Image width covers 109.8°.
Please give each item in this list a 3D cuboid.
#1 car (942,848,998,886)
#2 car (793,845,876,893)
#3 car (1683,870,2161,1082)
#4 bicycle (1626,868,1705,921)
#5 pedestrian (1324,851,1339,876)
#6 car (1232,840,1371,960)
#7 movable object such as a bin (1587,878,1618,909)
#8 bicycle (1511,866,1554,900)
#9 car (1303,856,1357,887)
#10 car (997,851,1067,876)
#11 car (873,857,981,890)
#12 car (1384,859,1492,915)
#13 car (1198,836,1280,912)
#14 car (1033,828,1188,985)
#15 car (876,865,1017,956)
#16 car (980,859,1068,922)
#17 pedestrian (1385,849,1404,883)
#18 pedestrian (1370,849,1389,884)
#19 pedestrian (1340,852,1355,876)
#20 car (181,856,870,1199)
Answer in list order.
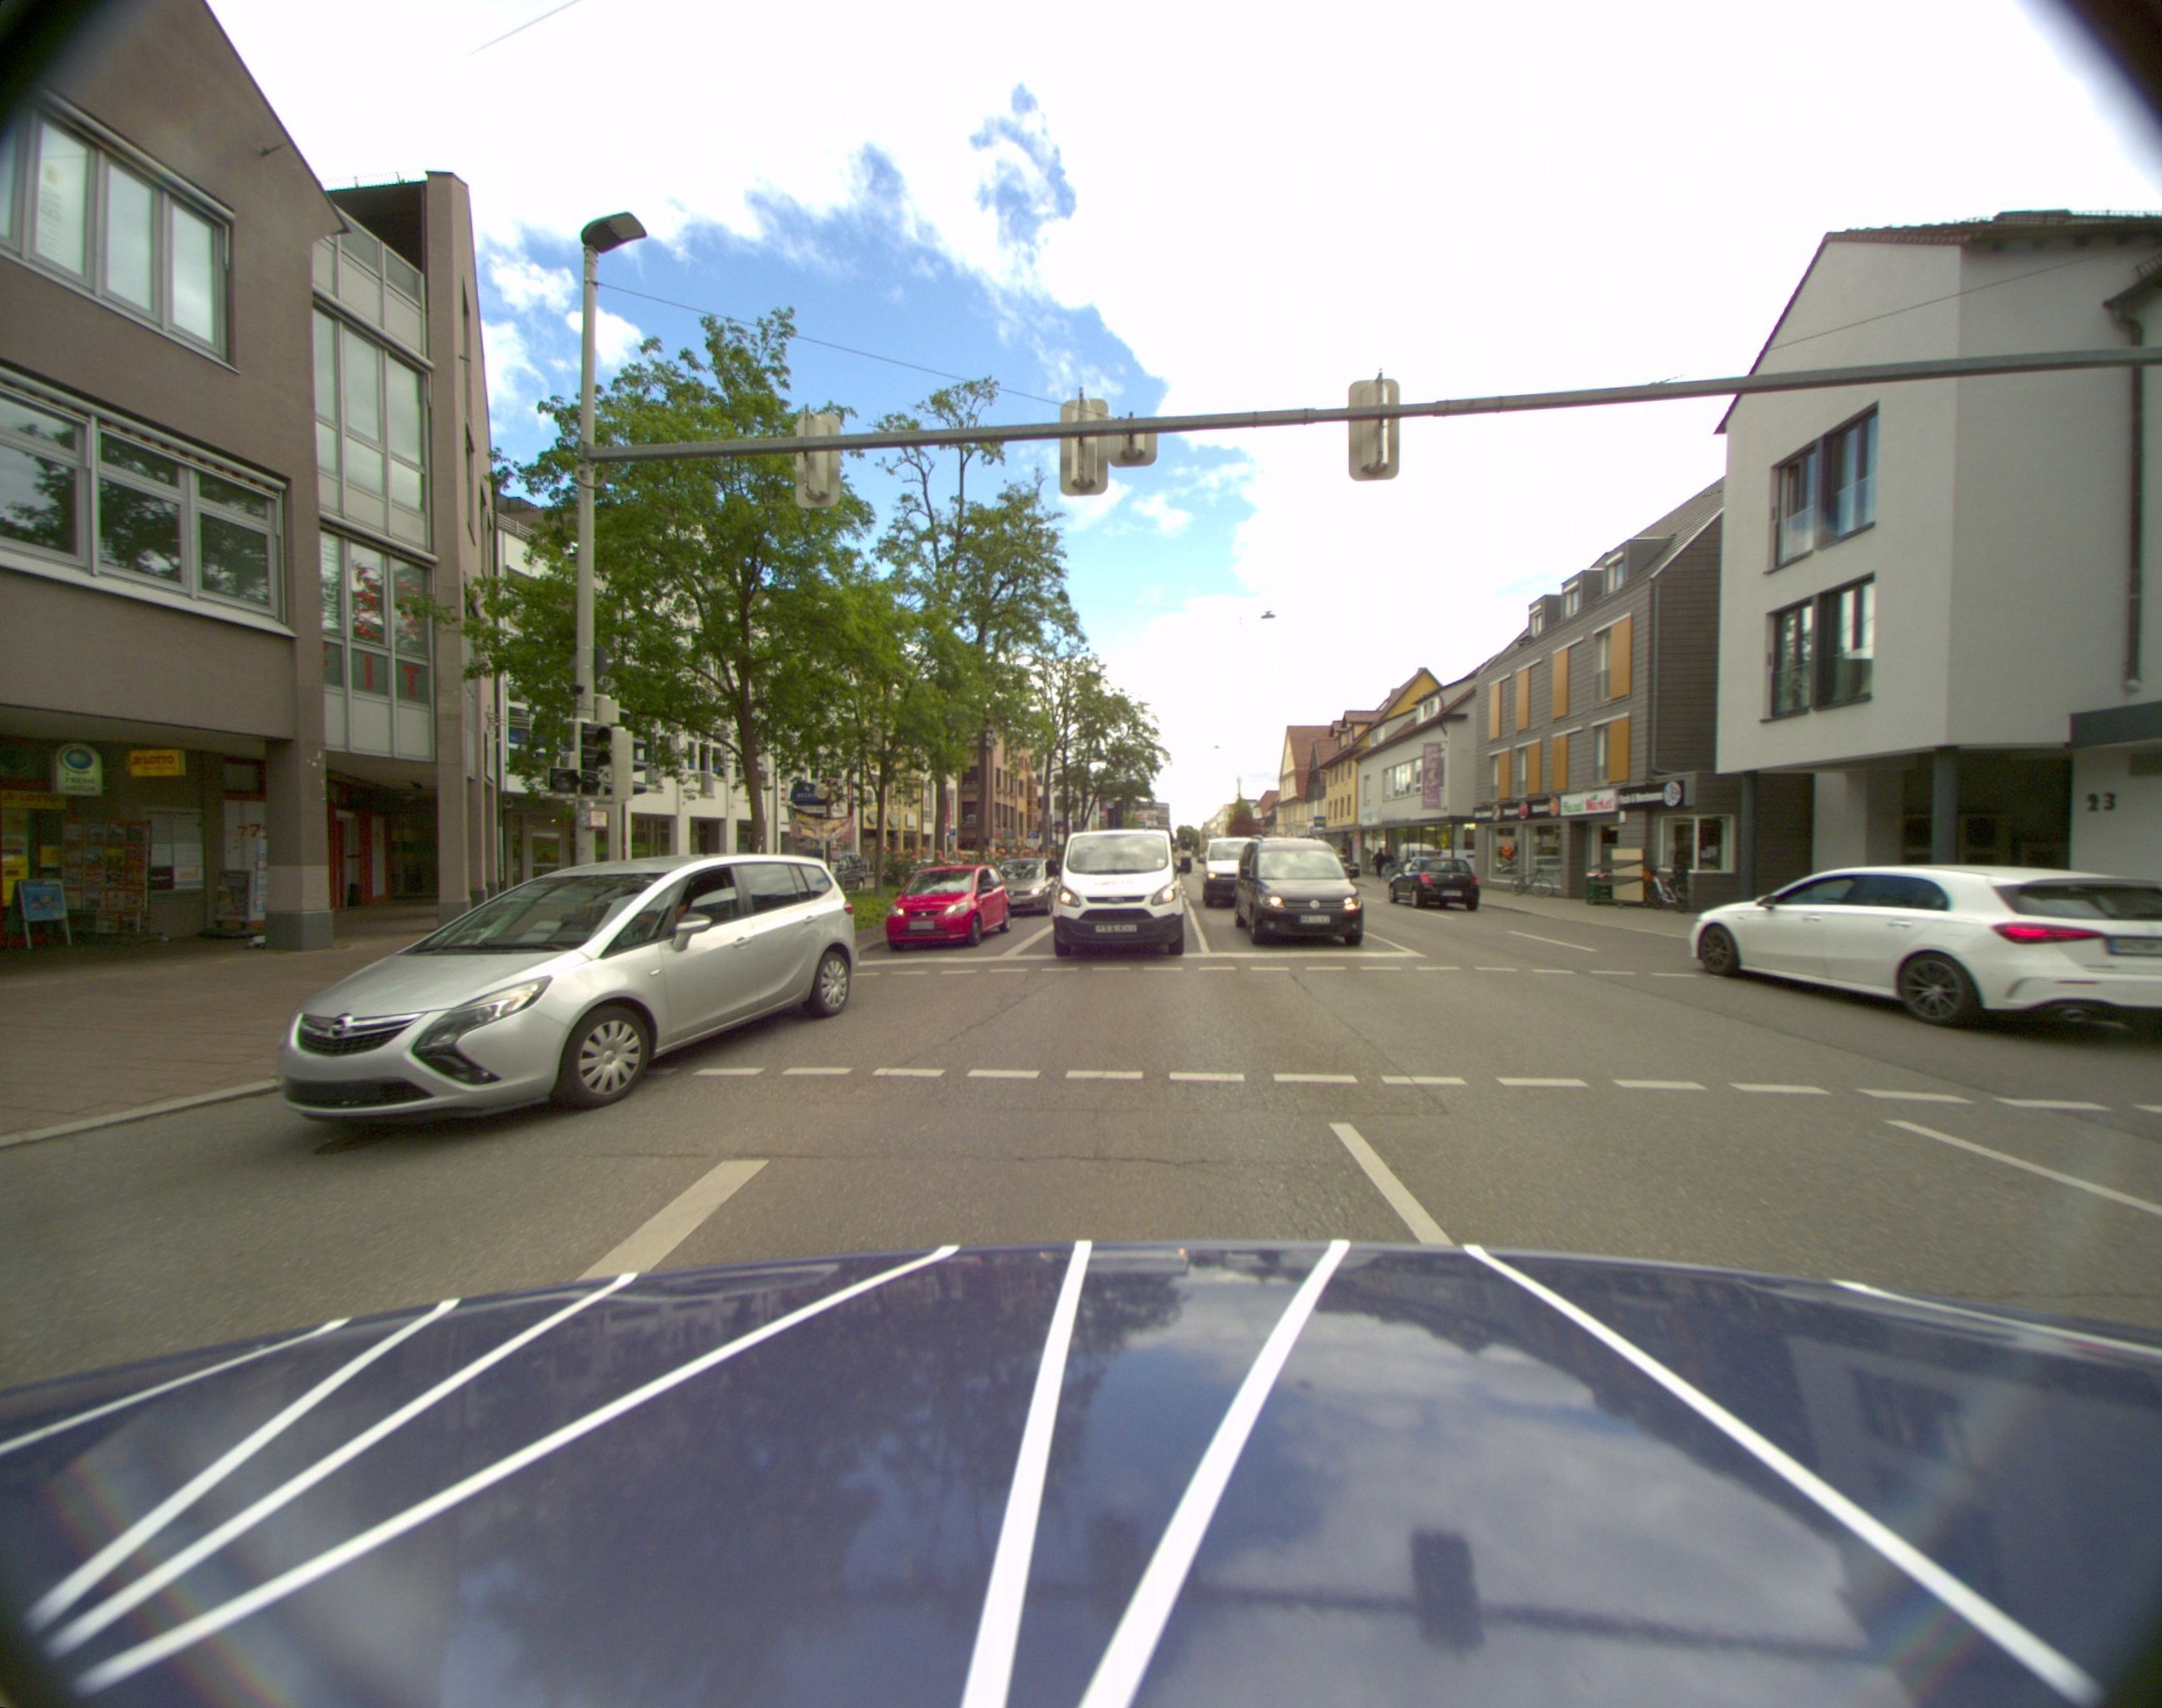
[{"bbox_3d":[-6.051,0.650,41.917,1.998,1.865,4.755,1,1,5],"label":"car"},{"bbox_3d":[-10.049,0.555,31.305,1.738,1.793,4.262,1,1,5],"label":"car"},{"bbox_3d":[8.417,0.949,7.642,1.747,1.450,4.237,1,0,7],"label":"car"},{"bbox_3d":[14.874,0.990,19.415,0.583,1.225,2.120,0,0,6],"label":"bicycle"},{"bbox_3d":[16.700,0.606,50.703,0.811,1.651,0.921,0,1,8],"label":"pedestrian"},{"bbox_3d":[3.835,0.707,13.975,1.711,1.810,4.574,-2,0,7],"label":"car"},{"bbox_3d":[15.101,1.141,22.018,0.552,0.894,0.507,-1,1,6],"label":"movable object such as a bin"},{"bbox_3d":[15.478,0.982,26.091,0.573,1.094,1.903,0,0,8],"label":"bicycle"},{"bbox_3d":[12.623,0.866,38.760,1.872,1.477,4.002,0,0,7],"label":"car"},{"bbox_3d":[-3.379,0.660,52.927,4.751,1.669,2.000,1,0,-1],"label":"car"},{"bbox_3d":[-7.187,0.902,35.706,4.647,1.445,1.740,1,1,7],"label":"car"},{"bbox_3d":[10.359,0.902,22.345,1.747,1.450,3.820,1,0,7],"label":"car"},{"bbox_3d":[4.604,0.527,22.780,1.997,2.002,4.842,-2,0,7],"label":"car"},{"bbox_3d":[0.732,0.672,12.670,1.939,1.968,5.782,-2,0,7],"label":"car"},{"bbox_3d":[-2.462,0.999,14.800,1.629,1.440,3.644,-2,0,7],"label":"car"},{"bbox_3d":[-1.520,0.968,21.652,1.801,1.521,4.001,-2,0,5],"label":"car"},{"bbox_3d":[16.541,0.617,40.101,0.708,1.771,0.870,0,1,9],"label":"pedestrian"},{"bbox_3d":[15.794,0.655,40.194,0.708,1.828,1.028,0,1,9],"label":"pedestrian"},{"bbox_3d":[17.752,0.671,50.602,0.811,1.574,0.921,0,1,8],"label":"pedestrian"},{"bbox_3d":[-3.617,0.913,6.163,1.742,1.691,4.384,-2,0,12],"label":"car"}]
